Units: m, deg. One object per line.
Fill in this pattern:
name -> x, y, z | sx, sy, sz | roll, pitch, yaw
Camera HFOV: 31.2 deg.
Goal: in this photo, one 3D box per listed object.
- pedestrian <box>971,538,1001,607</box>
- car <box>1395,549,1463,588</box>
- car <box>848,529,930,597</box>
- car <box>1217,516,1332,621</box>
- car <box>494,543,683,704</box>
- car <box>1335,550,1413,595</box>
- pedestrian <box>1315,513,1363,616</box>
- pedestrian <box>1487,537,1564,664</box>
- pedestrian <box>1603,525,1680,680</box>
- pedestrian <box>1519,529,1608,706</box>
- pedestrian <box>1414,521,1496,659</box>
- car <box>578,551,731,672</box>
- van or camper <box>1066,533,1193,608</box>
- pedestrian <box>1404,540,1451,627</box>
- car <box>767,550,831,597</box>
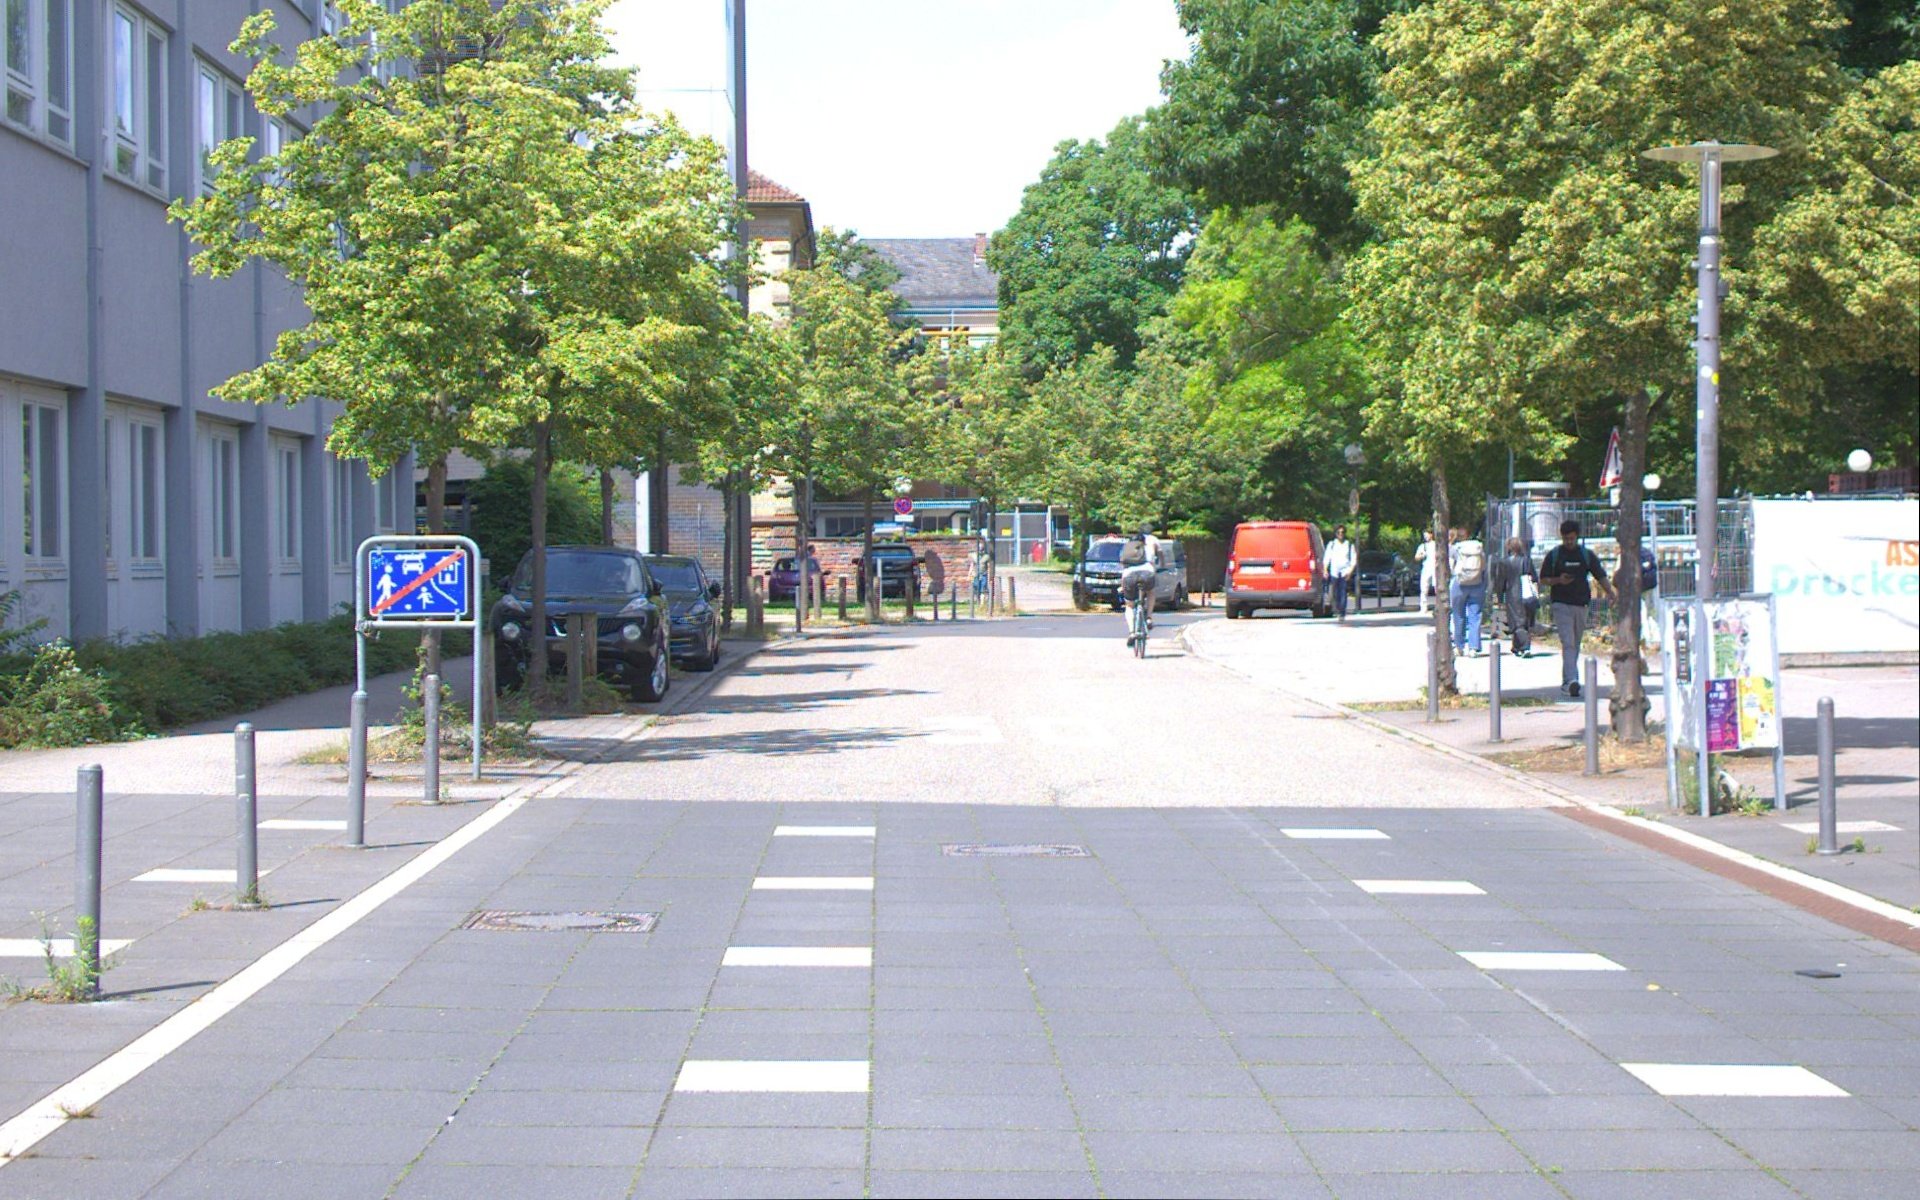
pedestrian -> 0.664, -0.703, 87.511 | 0.584, 1.758, 0.911 | 0, 1, 11
car -> 16.917, -1.132, 123.889 | 1.617, 1.383, 3.996 | 0, 1, 20
car -> -2.096, -1.066, 100.057 | 2.174, 1.919, 5.187 | 0, 1, -3
car -> 6.003, -0.610, 65.188 | 1.849, 1.885, 4.889 | -1, 1, 9
car -> -3.789, 0.199, 35.596 | 1.696, 1.558, 4.068 | 0, 1, -3
car -> 14.084, -0.948, 116.804 | 1.761, 1.516, 4.107 | 0, 1, 20
pedestrian -> 6.615, -0.626, 60.032 | 0.695, 1.775, 0.786 | -1, 1, 16
pedestrian -> 7.249, 0.002, 44.114 | 0.668, 1.594, 0.985 | -1, 1, -10
pedestrian -> 7.439, 0.017, 37.558 | 0.649, 1.660, 0.904 | -1, 1, 1
pedestrian -> 5.855, 0.164, 33.373 | 0.641, 1.691, 0.792 | 0, 1, -6
pedestrian -> 6.371, -0.133, 44.285 | 0.849, 1.758, 0.716 | -1, 1, -8
car -> -3.880, 0.115, 44.180 | 1.778, 1.456, 4.259 | 1, 1, -3
van or camper -> 4.565, -0.807, 91.806 | 1.955, 1.916, 5.415 | 1, 1, 19
pedestrian -> 9.854, -0.350, 72.483 | 0.721, 1.815, 0.630 | -1, 0, -37
car -> -4.676, -0.771, 99.991 | 1.817, 1.319, 3.768 | 0, 1, -2
